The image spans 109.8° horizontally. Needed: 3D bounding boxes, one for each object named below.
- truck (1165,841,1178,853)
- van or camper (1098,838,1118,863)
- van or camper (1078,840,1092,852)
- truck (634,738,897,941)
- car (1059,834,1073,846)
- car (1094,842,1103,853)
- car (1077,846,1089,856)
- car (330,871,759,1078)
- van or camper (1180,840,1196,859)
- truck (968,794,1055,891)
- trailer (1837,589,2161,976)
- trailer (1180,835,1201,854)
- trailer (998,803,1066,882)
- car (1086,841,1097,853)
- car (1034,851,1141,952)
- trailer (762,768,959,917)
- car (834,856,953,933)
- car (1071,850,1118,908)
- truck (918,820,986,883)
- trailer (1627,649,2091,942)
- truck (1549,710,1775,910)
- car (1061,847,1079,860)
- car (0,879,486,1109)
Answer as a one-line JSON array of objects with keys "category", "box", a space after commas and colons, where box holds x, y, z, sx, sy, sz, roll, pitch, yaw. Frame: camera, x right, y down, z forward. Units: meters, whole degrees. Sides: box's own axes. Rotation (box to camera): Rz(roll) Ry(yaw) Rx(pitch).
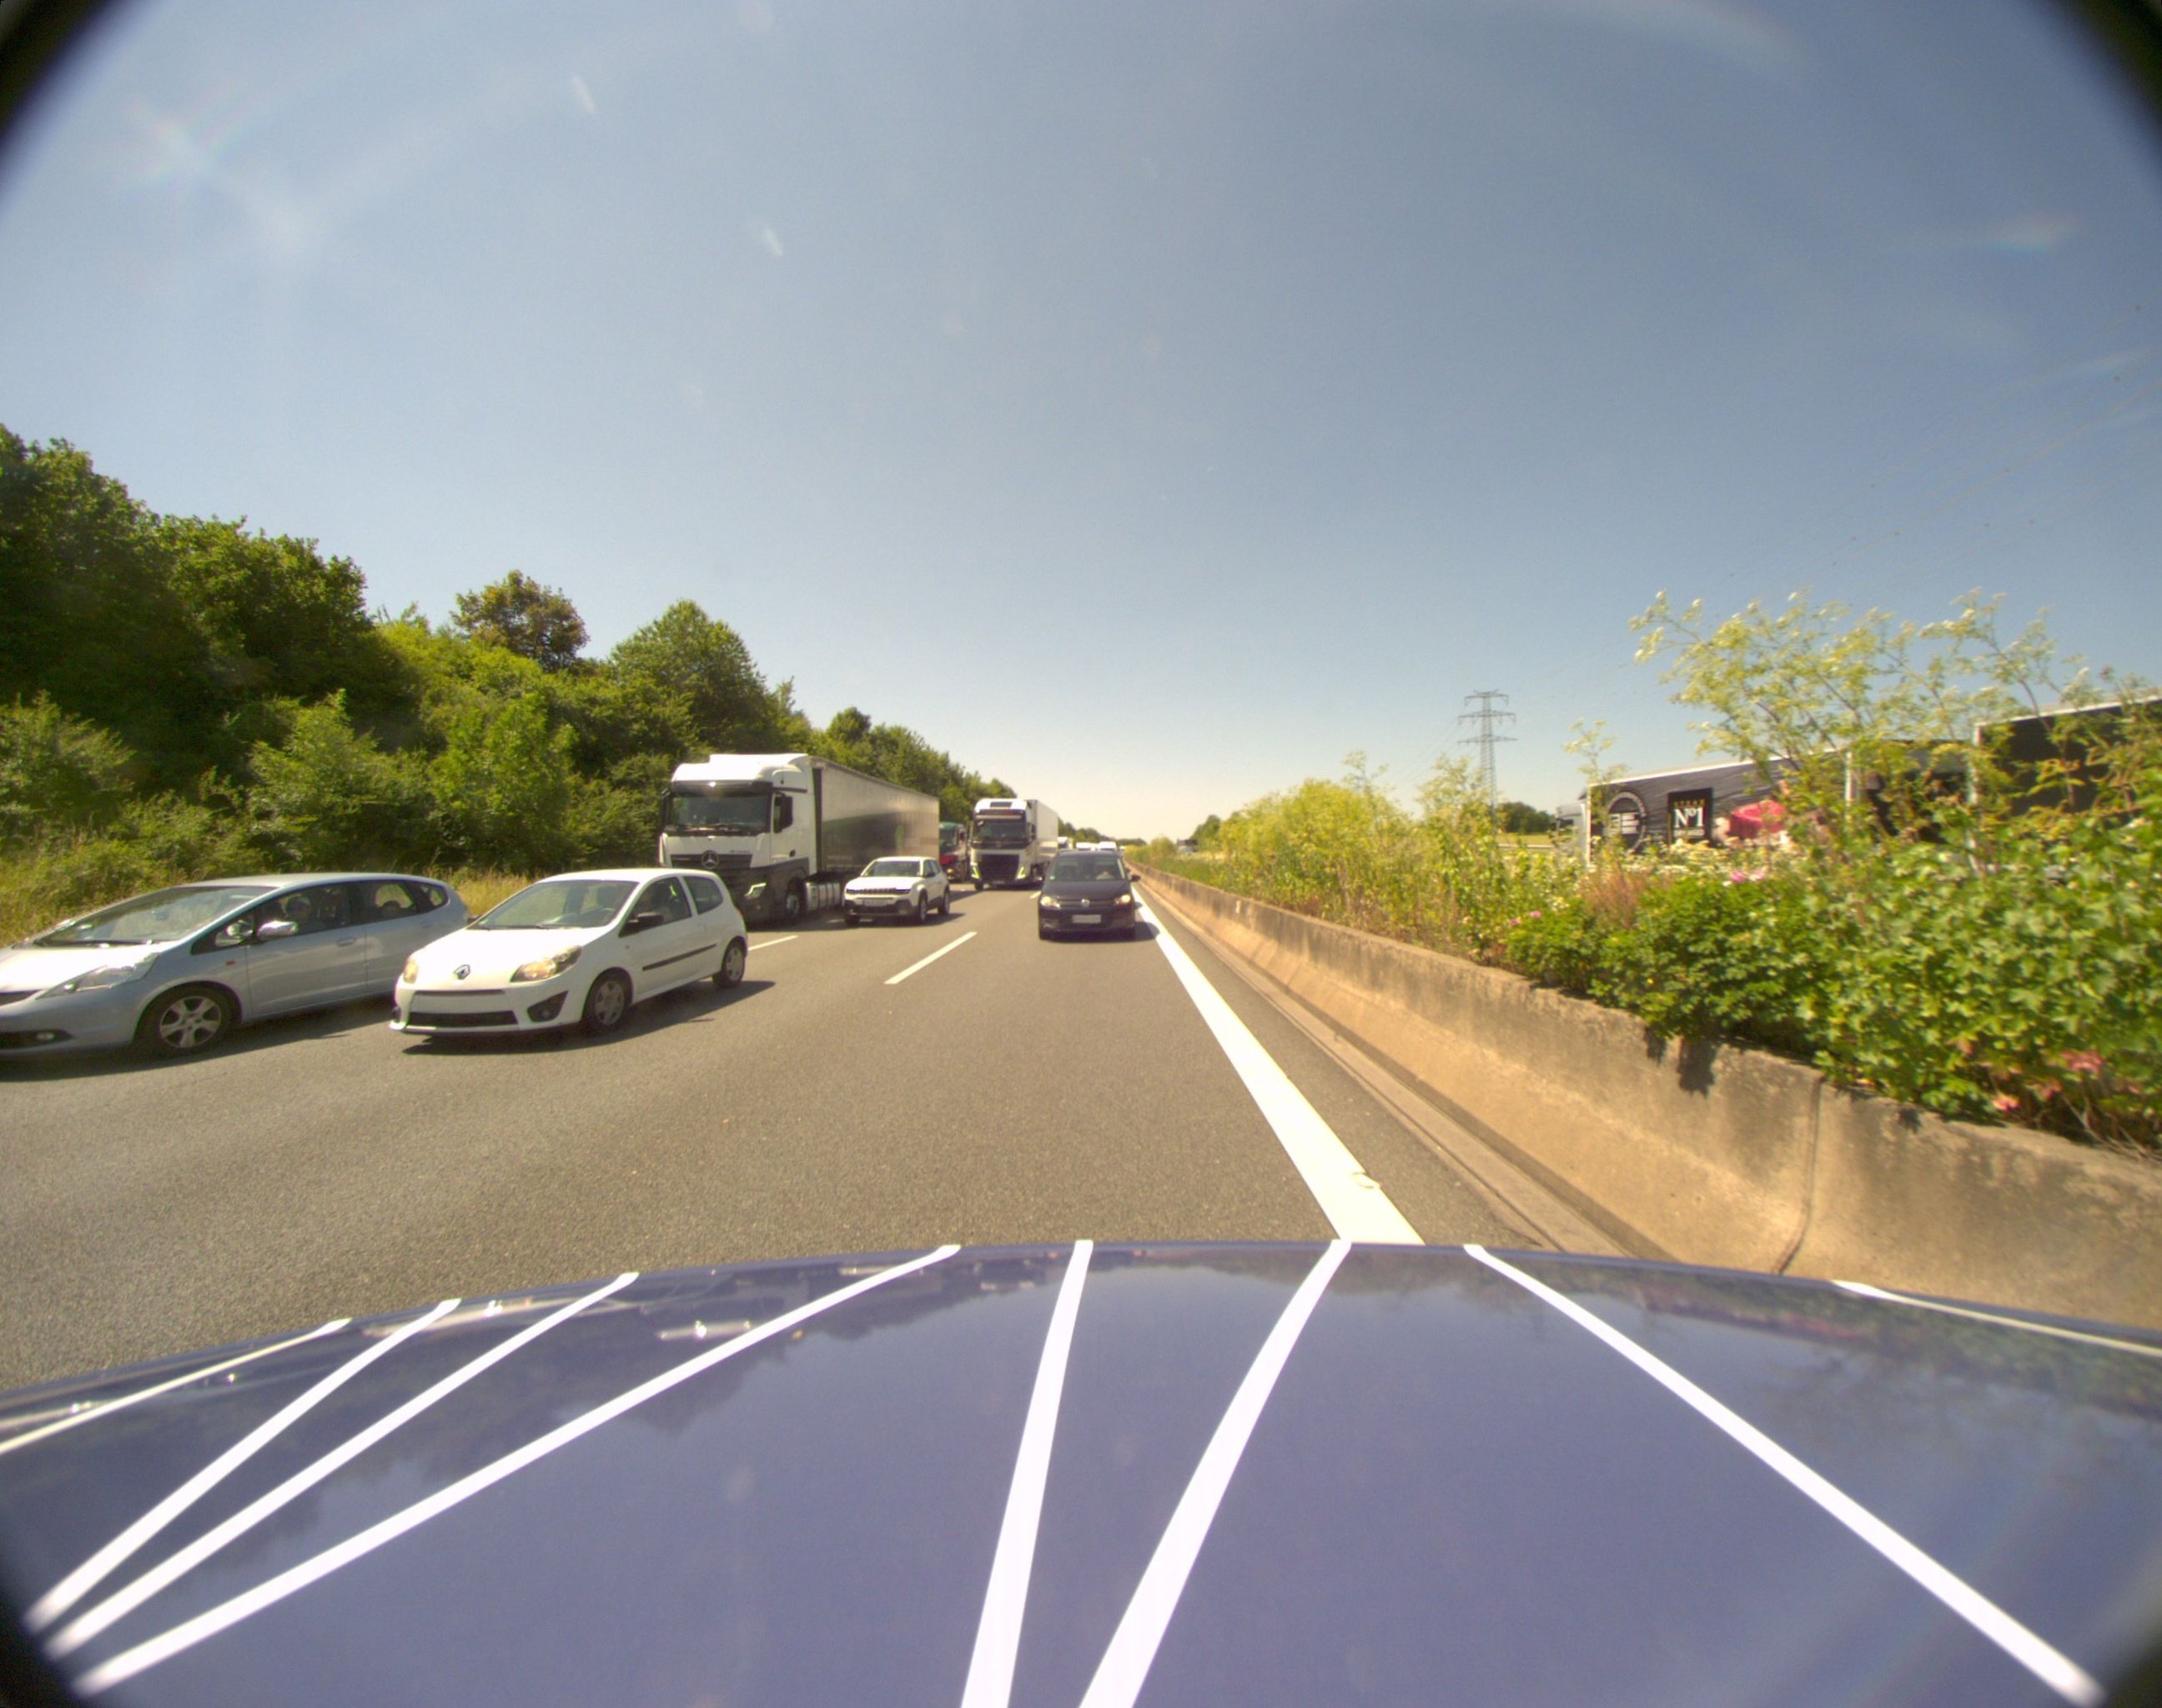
[{"category": "truck", "box": [25.156, -2.018, 212.238, 2.771, 3.269, 11.820, 0, 1, 3]}, {"category": "van or camper", "box": [2.770, -0.359, 77.020, 1.956, 2.368, 4.037, -2, 1, 3]}, {"category": "van or camper", "box": [0.752, -1.391, 133.323, 2.189, 2.018, 4.364, -1, 1, 3]}, {"category": "truck", "box": [-7.527, -0.352, 19.894, 2.879, 4.133, 8.475, -1, 1, 3]}, {"category": "car", "box": [-2.485, -2.375, 127.562, 1.998, 2.002, 4.000, -1, 1, 2]}, {"category": "car", "box": [3.947, -1.522, 170.905, 1.998, 2.302, 4.229, -1, 1, 2]}, {"category": "car", "box": [0.395, -0.477, 118.871, 1.652, 1.636, 4.000, -1, 1, 3]}, {"category": "car", "box": [-4.973, 0.979, 7.799, 1.609, 1.426, 3.809, 0, 1, 2]}, {"category": "van or camper", "box": [16.864, -0.719, 120.131, 2.053, 2.843, 4.649, 0, 1, 1]}, {"category": "truck", "box": [-3.001, -0.528, 35.408, 2.750, 3.972, 8.361, -1, 1, 3]}, {"category": "trailer", "box": [15.704, -0.945, 9.415, 3.330, 5.018, 9.590, -1, 1, 2]}, {"category": "trailer", "box": [21.762, -1.841, 151.349, 3.190, 3.740, 8.200, 0, 1, 1]}, {"category": "trailer", "box": [-2.582, -0.652, 43.386, 2.776, 3.951, 9.156, -1, 1, 3]}, {"category": "car", "box": [2.096, -1.450, 150.981, 1.998, 2.302, 4.229, -1, 1, 1]}, {"category": "car", "box": [0.209, 0.784, 15.238, 1.758, 1.571, 5.291, 0, 1, 2]}, {"category": "trailer", "box": [-7.149, -0.394, 27.297, 2.879, 4.133, 12.076, -1, 1, 3]}, {"category": "car", "box": [-4.354, 0.875, 18.222, 1.748, 1.549, 3.884, 0, 1, 2]}, {"category": "car", "box": [0.481, 0.737, 24.251, 1.357, 1.630, 2.994, -2, 1, 3]}, {"category": "truck", "box": [-6.762, -0.164, 40.469, 2.299, 3.128, 5.675, -1, 1, 3]}, {"category": "trailer", "box": [15.905, -1.051, 16.559, 3.330, 5.018, 6.703, -1, 1, 2]}, {"category": "truck", "box": [16.043, -1.133, 21.361, 3.311, 5.021, 4.032, -1, 1, 1]}, {"category": "car", "box": [-1.147, -0.090, 82.235, 1.650, 1.336, 3.381, -1, 1, 3]}, {"category": "car", "box": [-8.173, 1.063, 7.363, 1.666, 1.453, 3.922, 0, 1, 1]}]
